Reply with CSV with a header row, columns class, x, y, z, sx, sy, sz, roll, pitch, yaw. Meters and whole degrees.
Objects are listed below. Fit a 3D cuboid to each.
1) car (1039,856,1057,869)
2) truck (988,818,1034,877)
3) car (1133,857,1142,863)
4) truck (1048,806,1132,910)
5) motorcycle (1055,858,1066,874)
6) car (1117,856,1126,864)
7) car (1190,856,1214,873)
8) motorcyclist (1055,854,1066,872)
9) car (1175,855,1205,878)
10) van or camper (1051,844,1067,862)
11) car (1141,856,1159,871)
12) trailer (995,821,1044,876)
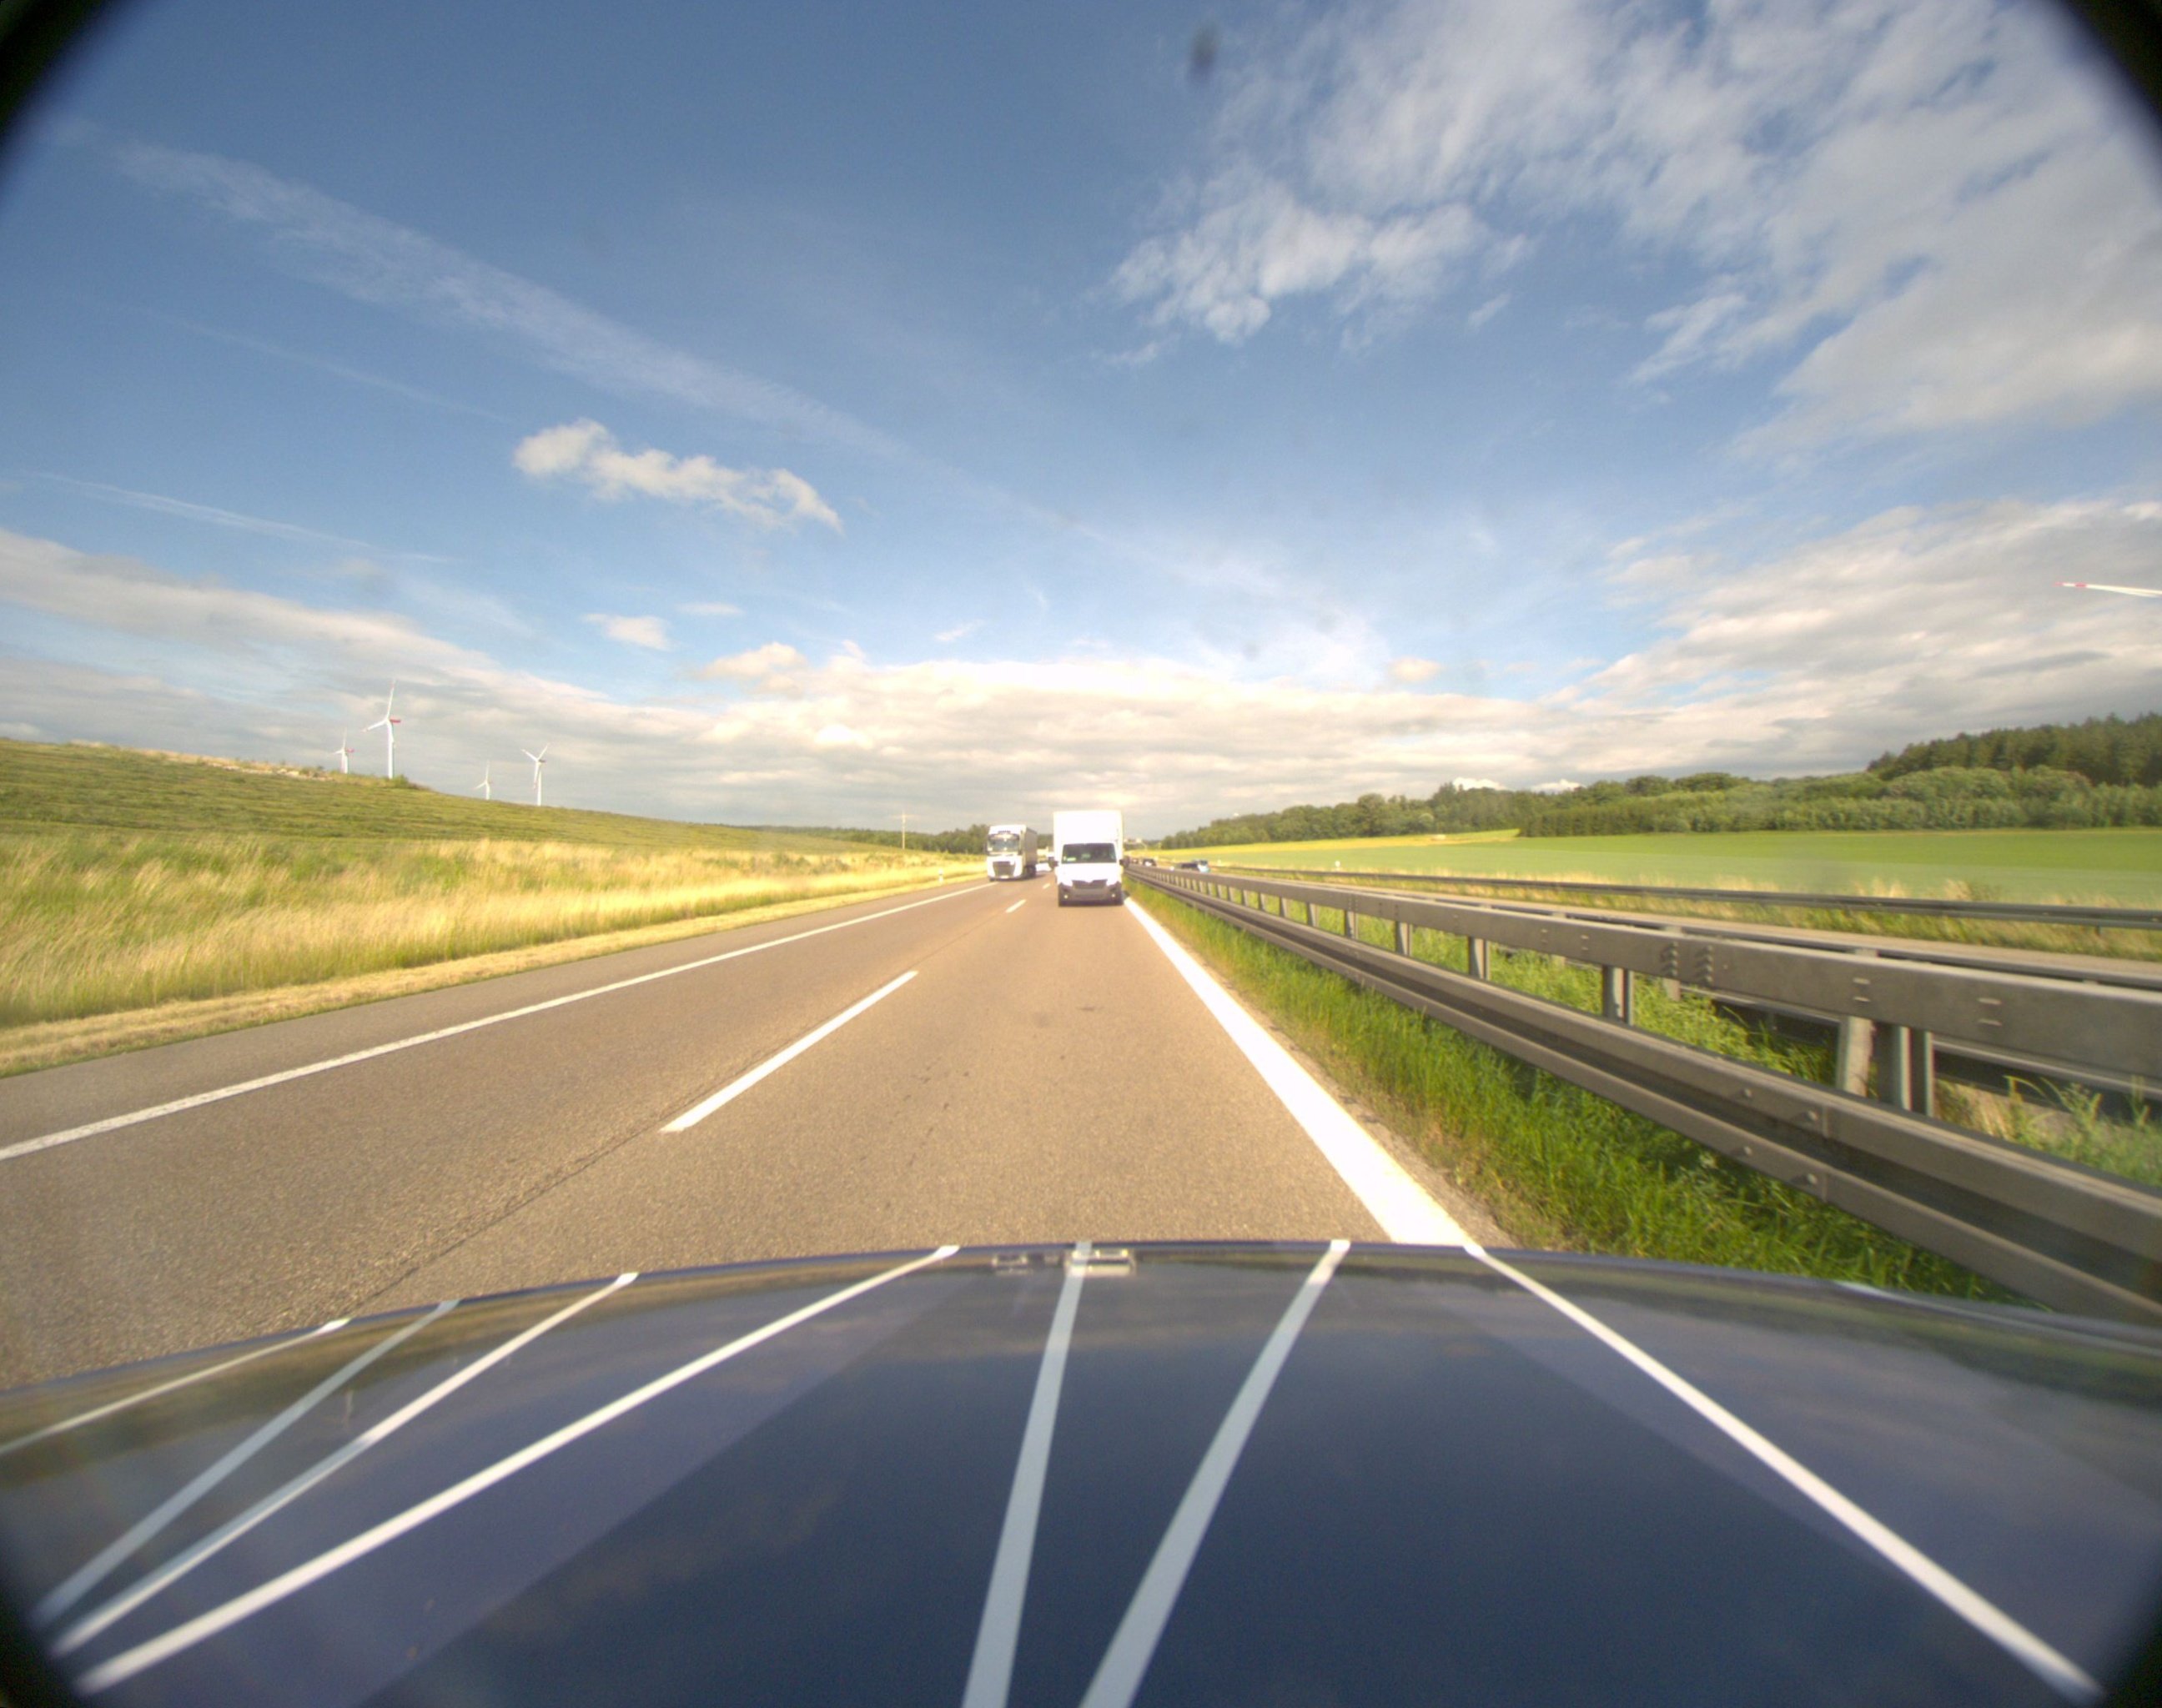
class,x,y,z,sx,sy,sz,roll,pitch,yaw
car,-4.016,1.000,93.156,1.871,1.409,4.461,-1,1,1
truck,-5.071,-0.402,55.742,2.607,4.017,6.120,-2,0,1
car,13.434,1.393,180.942,1.754,1.470,4.479,-1,1,0
truck,0.275,0.149,28.865,2.502,3.140,11.163,-1,0,0
motorcycle,-1.866,1.099,69.971,0.898,1.447,2.269,-1,1,0
car,9.282,1.408,175.084,1.754,1.594,4.265,-1,1,0
car,12.065,1.065,76.075,1.739,1.579,4.117,-1,1,1
motorcyclist,-1.867,0.861,69.985,0.898,1.608,1.022,-1,1,0
car,8.123,0.908,56.891,1.601,1.506,4.159,-1,1,1
van or camper,-3.419,-0.187,117.396,2.102,2.530,6.412,-1,1,1
car,8.639,1.148,95.544,1.827,1.759,4.363,-1,1,1
trailer,-4.941,-0.354,63.432,2.623,4.016,13.700,-2,0,1
